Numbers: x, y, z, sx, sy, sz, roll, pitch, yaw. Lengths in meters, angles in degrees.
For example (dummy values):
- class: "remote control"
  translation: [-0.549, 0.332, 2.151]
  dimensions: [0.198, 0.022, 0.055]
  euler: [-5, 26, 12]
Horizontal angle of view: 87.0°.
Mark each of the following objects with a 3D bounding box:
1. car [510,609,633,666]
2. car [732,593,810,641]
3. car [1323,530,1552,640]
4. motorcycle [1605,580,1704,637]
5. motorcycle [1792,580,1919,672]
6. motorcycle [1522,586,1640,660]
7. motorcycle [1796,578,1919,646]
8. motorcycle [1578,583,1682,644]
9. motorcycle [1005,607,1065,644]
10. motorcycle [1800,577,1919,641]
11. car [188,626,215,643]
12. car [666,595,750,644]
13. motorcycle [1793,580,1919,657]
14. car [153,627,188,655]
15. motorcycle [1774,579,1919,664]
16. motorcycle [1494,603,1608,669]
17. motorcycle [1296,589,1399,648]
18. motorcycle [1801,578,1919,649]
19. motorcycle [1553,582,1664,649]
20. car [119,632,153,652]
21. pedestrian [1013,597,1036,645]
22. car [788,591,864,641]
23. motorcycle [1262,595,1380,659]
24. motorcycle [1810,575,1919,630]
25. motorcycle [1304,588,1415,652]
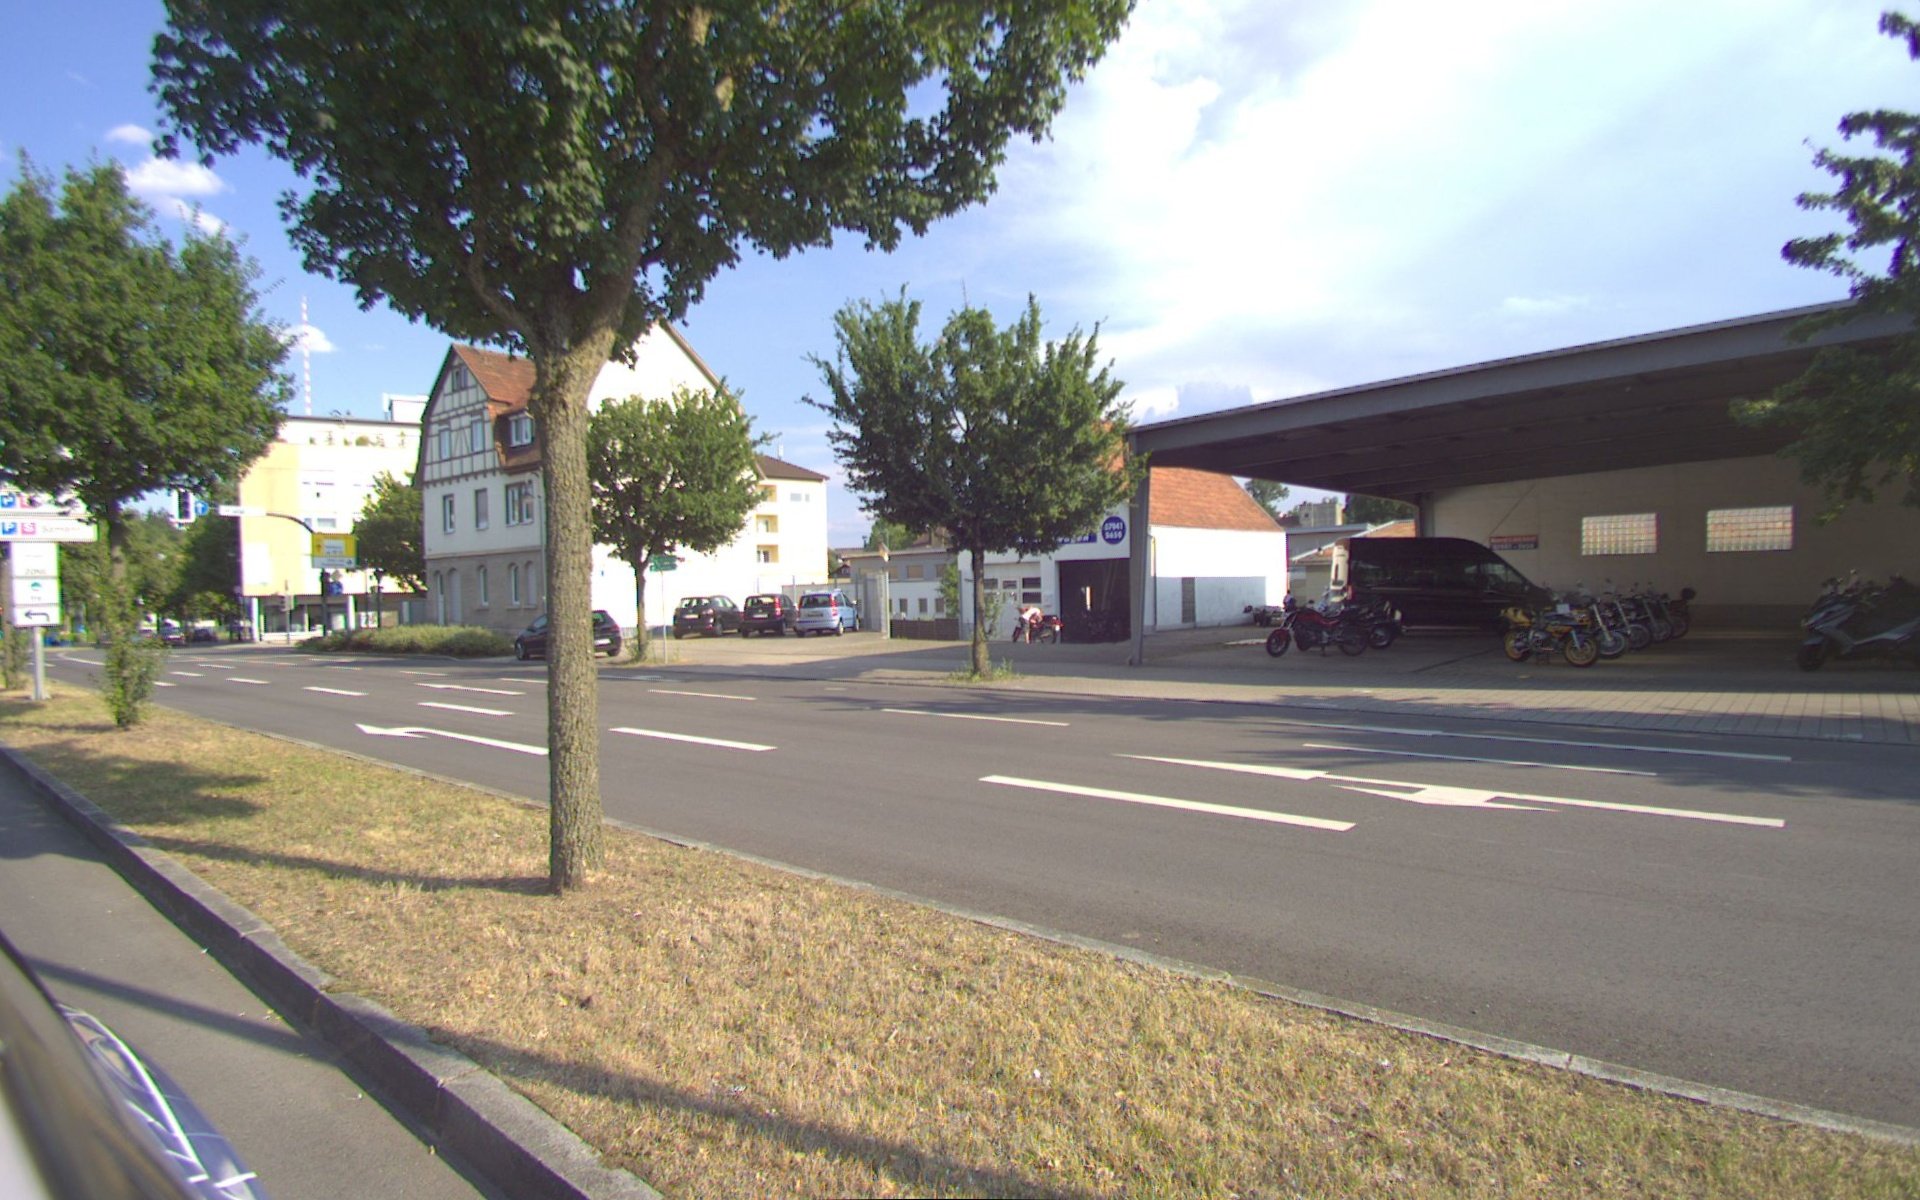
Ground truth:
- class: "car"
  translation: [-11.584, 1.077, 30.069]
  dimensions: [3.823, 1.462, 1.795]
  euler: [-1, 2, 42]
- class: "car"
  translation: [-6.905, 0.582, 37.300]
  dimensions: [1.797, 1.512, 3.819]
  euler: [-3, 2, 5]
- class: "car"
  translation: [12.882, -0.381, 27.621]
  dimensions: [5.221, 2.773, 1.996]
  euler: [-1, 0, 7]
- class: "motorcycle"
  translation: [17.307, 0.217, 25.296]
  dimensions: [0.621, 1.347, 2.269]
  euler: [-1, 0, -9]
- class: "motorcycle"
  translation: [13.878, 0.373, 15.108]
  dimensions: [2.103, 1.306, 0.628]
  euler: [-3, -1, 17]
- class: "motorcycle"
  translation: [12.175, 0.435, 19.949]
  dimensions: [0.621, 1.347, 2.269]
  euler: [-1, 0, -9]
- class: "motorcycle"
  translation: [19.051, 0.253, 21.282]
  dimensions: [2.103, 1.306, 0.628]
  euler: [-3, -1, 17]
- class: "motorcycle"
  translation: [15.554, 0.299, 23.572]
  dimensions: [0.621, 1.347, 2.269]
  euler: [-1, 0, -9]
- class: "motorcycle"
  translation: [2.450, 0.835, 33.203]
  dimensions: [1.974, 1.194, 0.577]
  euler: [-1, 0, 41]
- class: "motorcycle"
  translation: [20.245, 0.204, 22.637]
  dimensions: [2.103, 1.306, 0.628]
  euler: [-3, -1, 17]
- class: "car"
  translation: [-79.680, 3.578, 106.370]
  dimensions: [1.752, 1.706, 4.012]
  euler: [-1, 0, -30]
- class: "car"
  translation: [-9.306, 0.687, 37.692]
  dimensions: [1.797, 1.512, 3.819]
  euler: [-3, 2, 5]
- class: "motorcycle"
  translation: [16.547, 0.337, 18.341]
  dimensions: [2.103, 1.306, 0.628]
  euler: [-3, -1, 17]
- class: "car"
  translation: [-52.277, 2.668, 66.992]
  dimensions: [1.754, 1.706, 4.007]
  euler: [-1, 0, -39]
- class: "motorcycle"
  translation: [14.930, 0.359, 16.769]
  dimensions: [2.103, 1.306, 0.628]
  euler: [-3, -1, 17]
- class: "motorcycle"
  translation: [10.548, 0.616, 18.144]
  dimensions: [0.621, 1.095, 2.038]
  euler: [-1, 0, -7]
- class: "motorcycle"
  translation: [9.395, 0.449, 24.600]
  dimensions: [2.198, 1.372, 0.630]
  euler: [-1, 0, 5]
- class: "motorcycle"
  translation: [18.062, 0.267, 19.981]
  dimensions: [2.103, 1.306, 0.628]
  euler: [-3, -1, 17]
- class: "motorcycle"
  translation: [13.881, 0.321, 21.762]
  dimensions: [0.621, 1.347, 2.269]
  euler: [-1, 0, -9]
- class: "car"
  translation: [-67.621, 3.462, 83.084]
  dimensions: [1.753, 1.480, 4.385]
  euler: [-1, 0, -34]
- class: "pedestrian"
  translation: [2.088, 0.672, 32.757]
  dimensions: [0.485, 1.530, 0.496]
  euler: [-1, 0, 41]
- class: "car"
  translation: [-4.666, 0.517, 35.670]
  dimensions: [1.797, 1.512, 3.819]
  euler: [-3, 2, 5]
- class: "motorcycle"
  translation: [7.513, 0.558, 21.153]
  dimensions: [2.202, 1.290, 0.629]
  euler: [-1, 0, 11]
- class: "motorcycle"
  translation: [23.751, 0.070, 26.514]
  dimensions: [2.103, 1.306, 0.628]
  euler: [-3, -1, 17]
- class: "motorcycle"
  translation: [8.973, 0.447, 22.797]
  dimensions: [2.198, 1.372, 0.630]
  euler: [-1, 0, 5]
